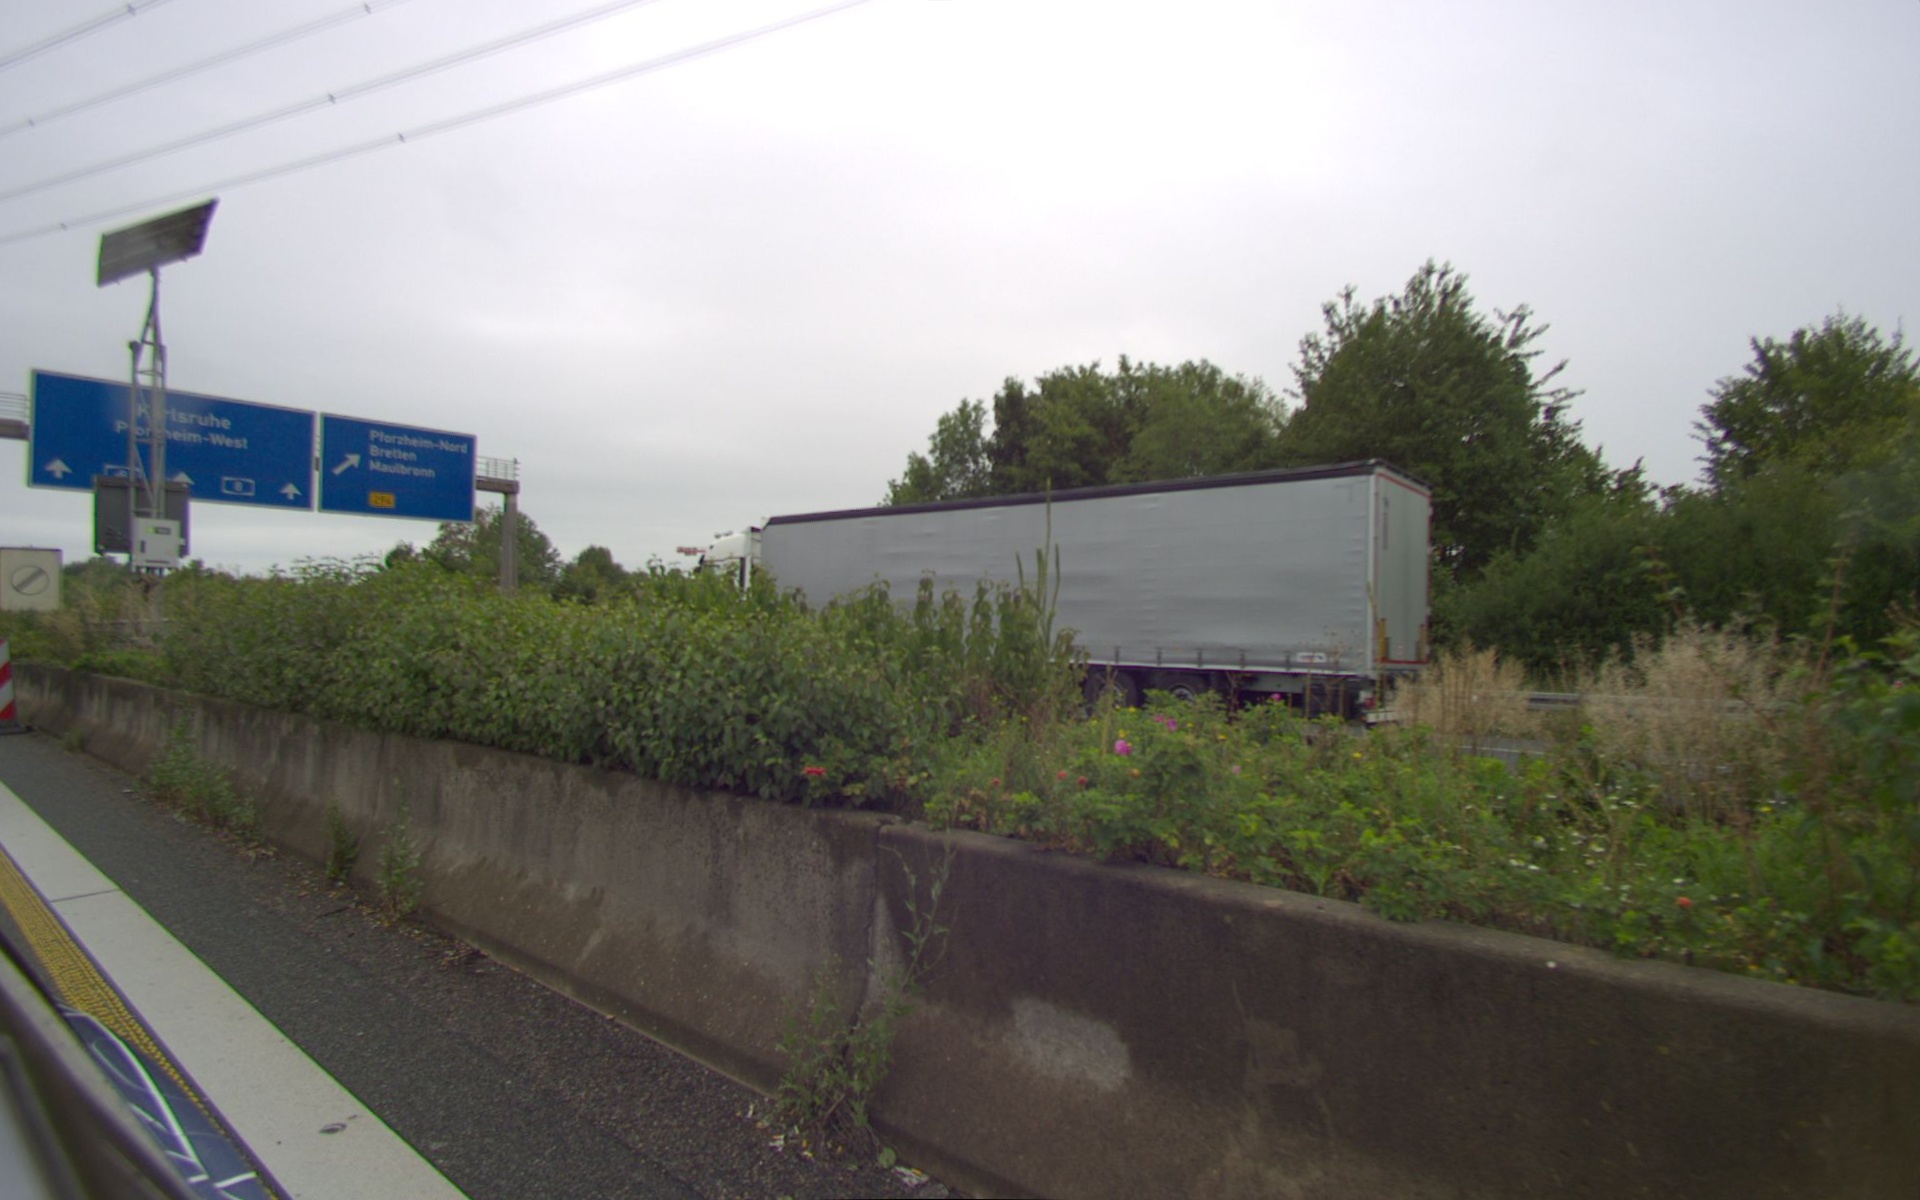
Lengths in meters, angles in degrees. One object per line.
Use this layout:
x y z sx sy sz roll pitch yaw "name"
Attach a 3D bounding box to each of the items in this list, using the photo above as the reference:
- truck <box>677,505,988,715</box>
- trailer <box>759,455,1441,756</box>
-3.076 0.324 22.937 7.228 4.054 2.757 -1 -4 41 "truck"
1.567 0.239 18.972 13.242 4.054 2.757 -1 -4 41 "trailer"
